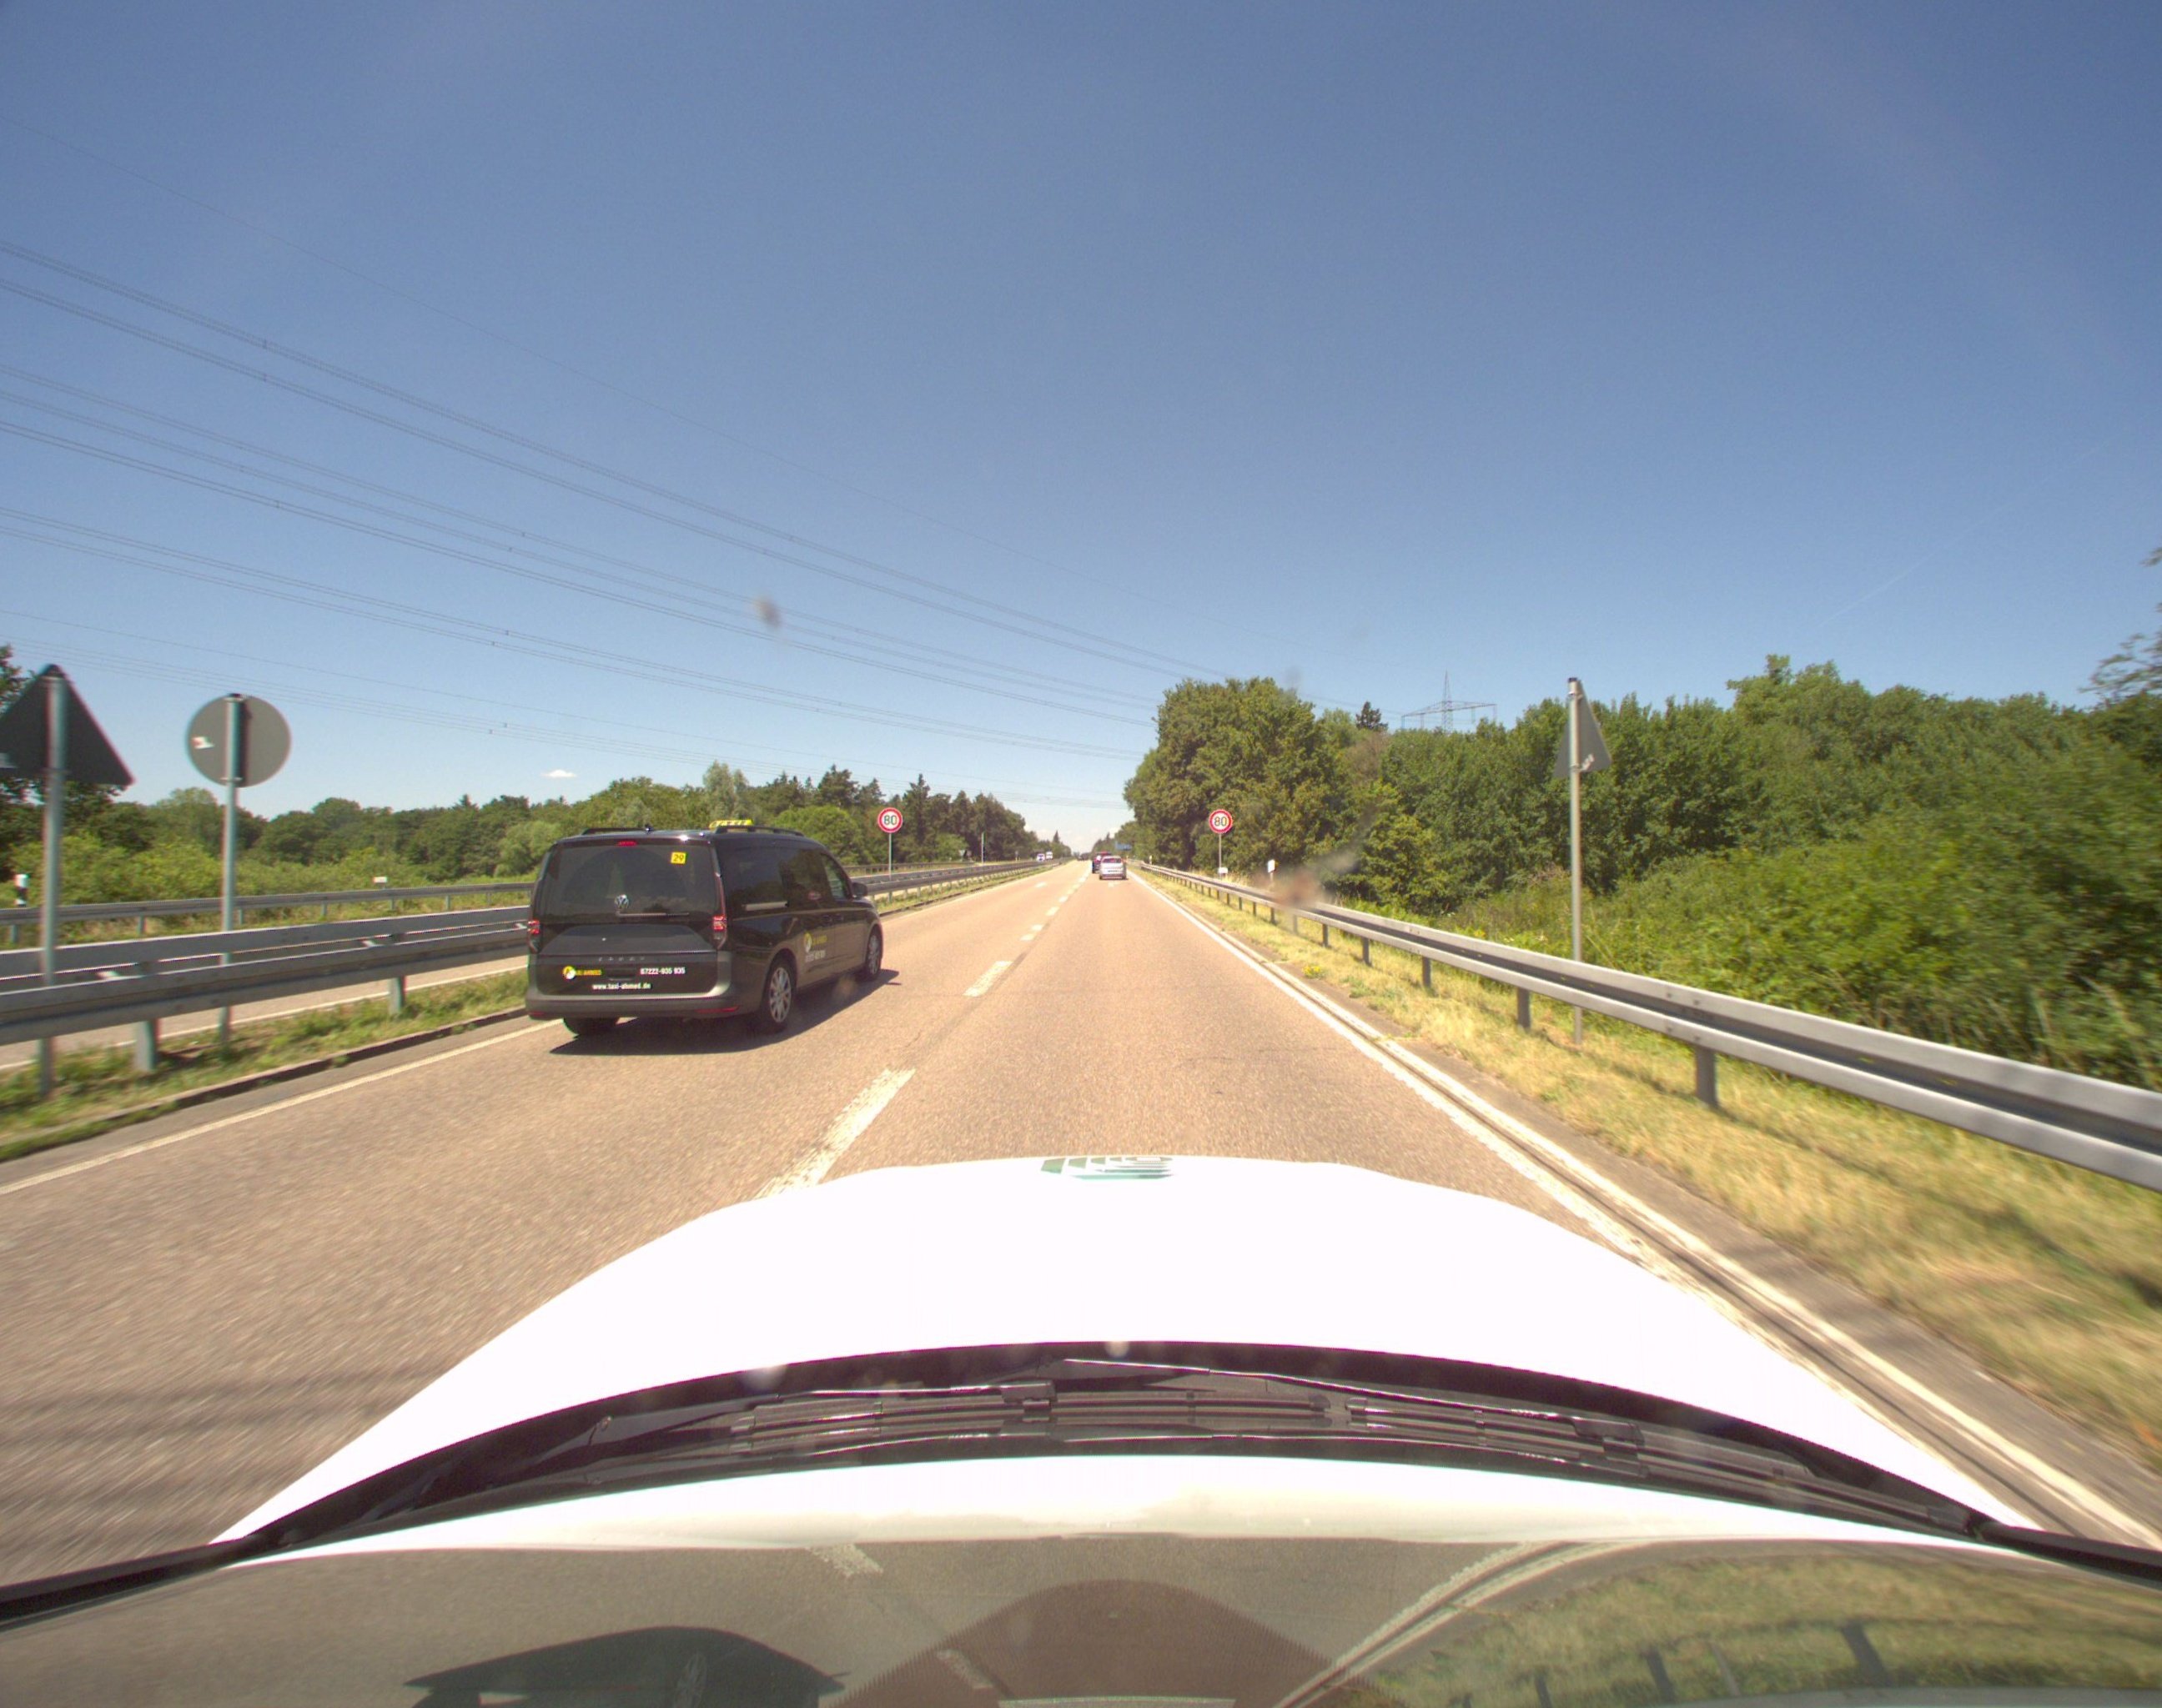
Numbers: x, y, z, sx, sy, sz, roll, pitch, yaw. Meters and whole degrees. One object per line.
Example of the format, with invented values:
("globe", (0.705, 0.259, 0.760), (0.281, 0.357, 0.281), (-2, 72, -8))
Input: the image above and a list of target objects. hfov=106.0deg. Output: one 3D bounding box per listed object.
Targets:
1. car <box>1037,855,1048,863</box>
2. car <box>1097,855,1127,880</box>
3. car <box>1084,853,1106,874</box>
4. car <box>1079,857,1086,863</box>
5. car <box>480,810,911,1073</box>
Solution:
("car", (-9.480, 1.165, 200.763), (1.883, 1.992, 5.537), (-1, 0, 3))
("car", (1.896, 0.821, 50.859), (1.635, 1.468, 3.417), (1, 0, -1))
("car", (1.119, 0.736, 67.036), (1.635, 1.654, 3.572), (1, 0, -1))
("car", (0.413, 1.483, 208.625), (1.706, 1.471, 3.574), (1, 0, 1))
("car", (-3.417, 0.655, 8.764), (1.848, 1.887, 5.574), (-1, 0, 1))
